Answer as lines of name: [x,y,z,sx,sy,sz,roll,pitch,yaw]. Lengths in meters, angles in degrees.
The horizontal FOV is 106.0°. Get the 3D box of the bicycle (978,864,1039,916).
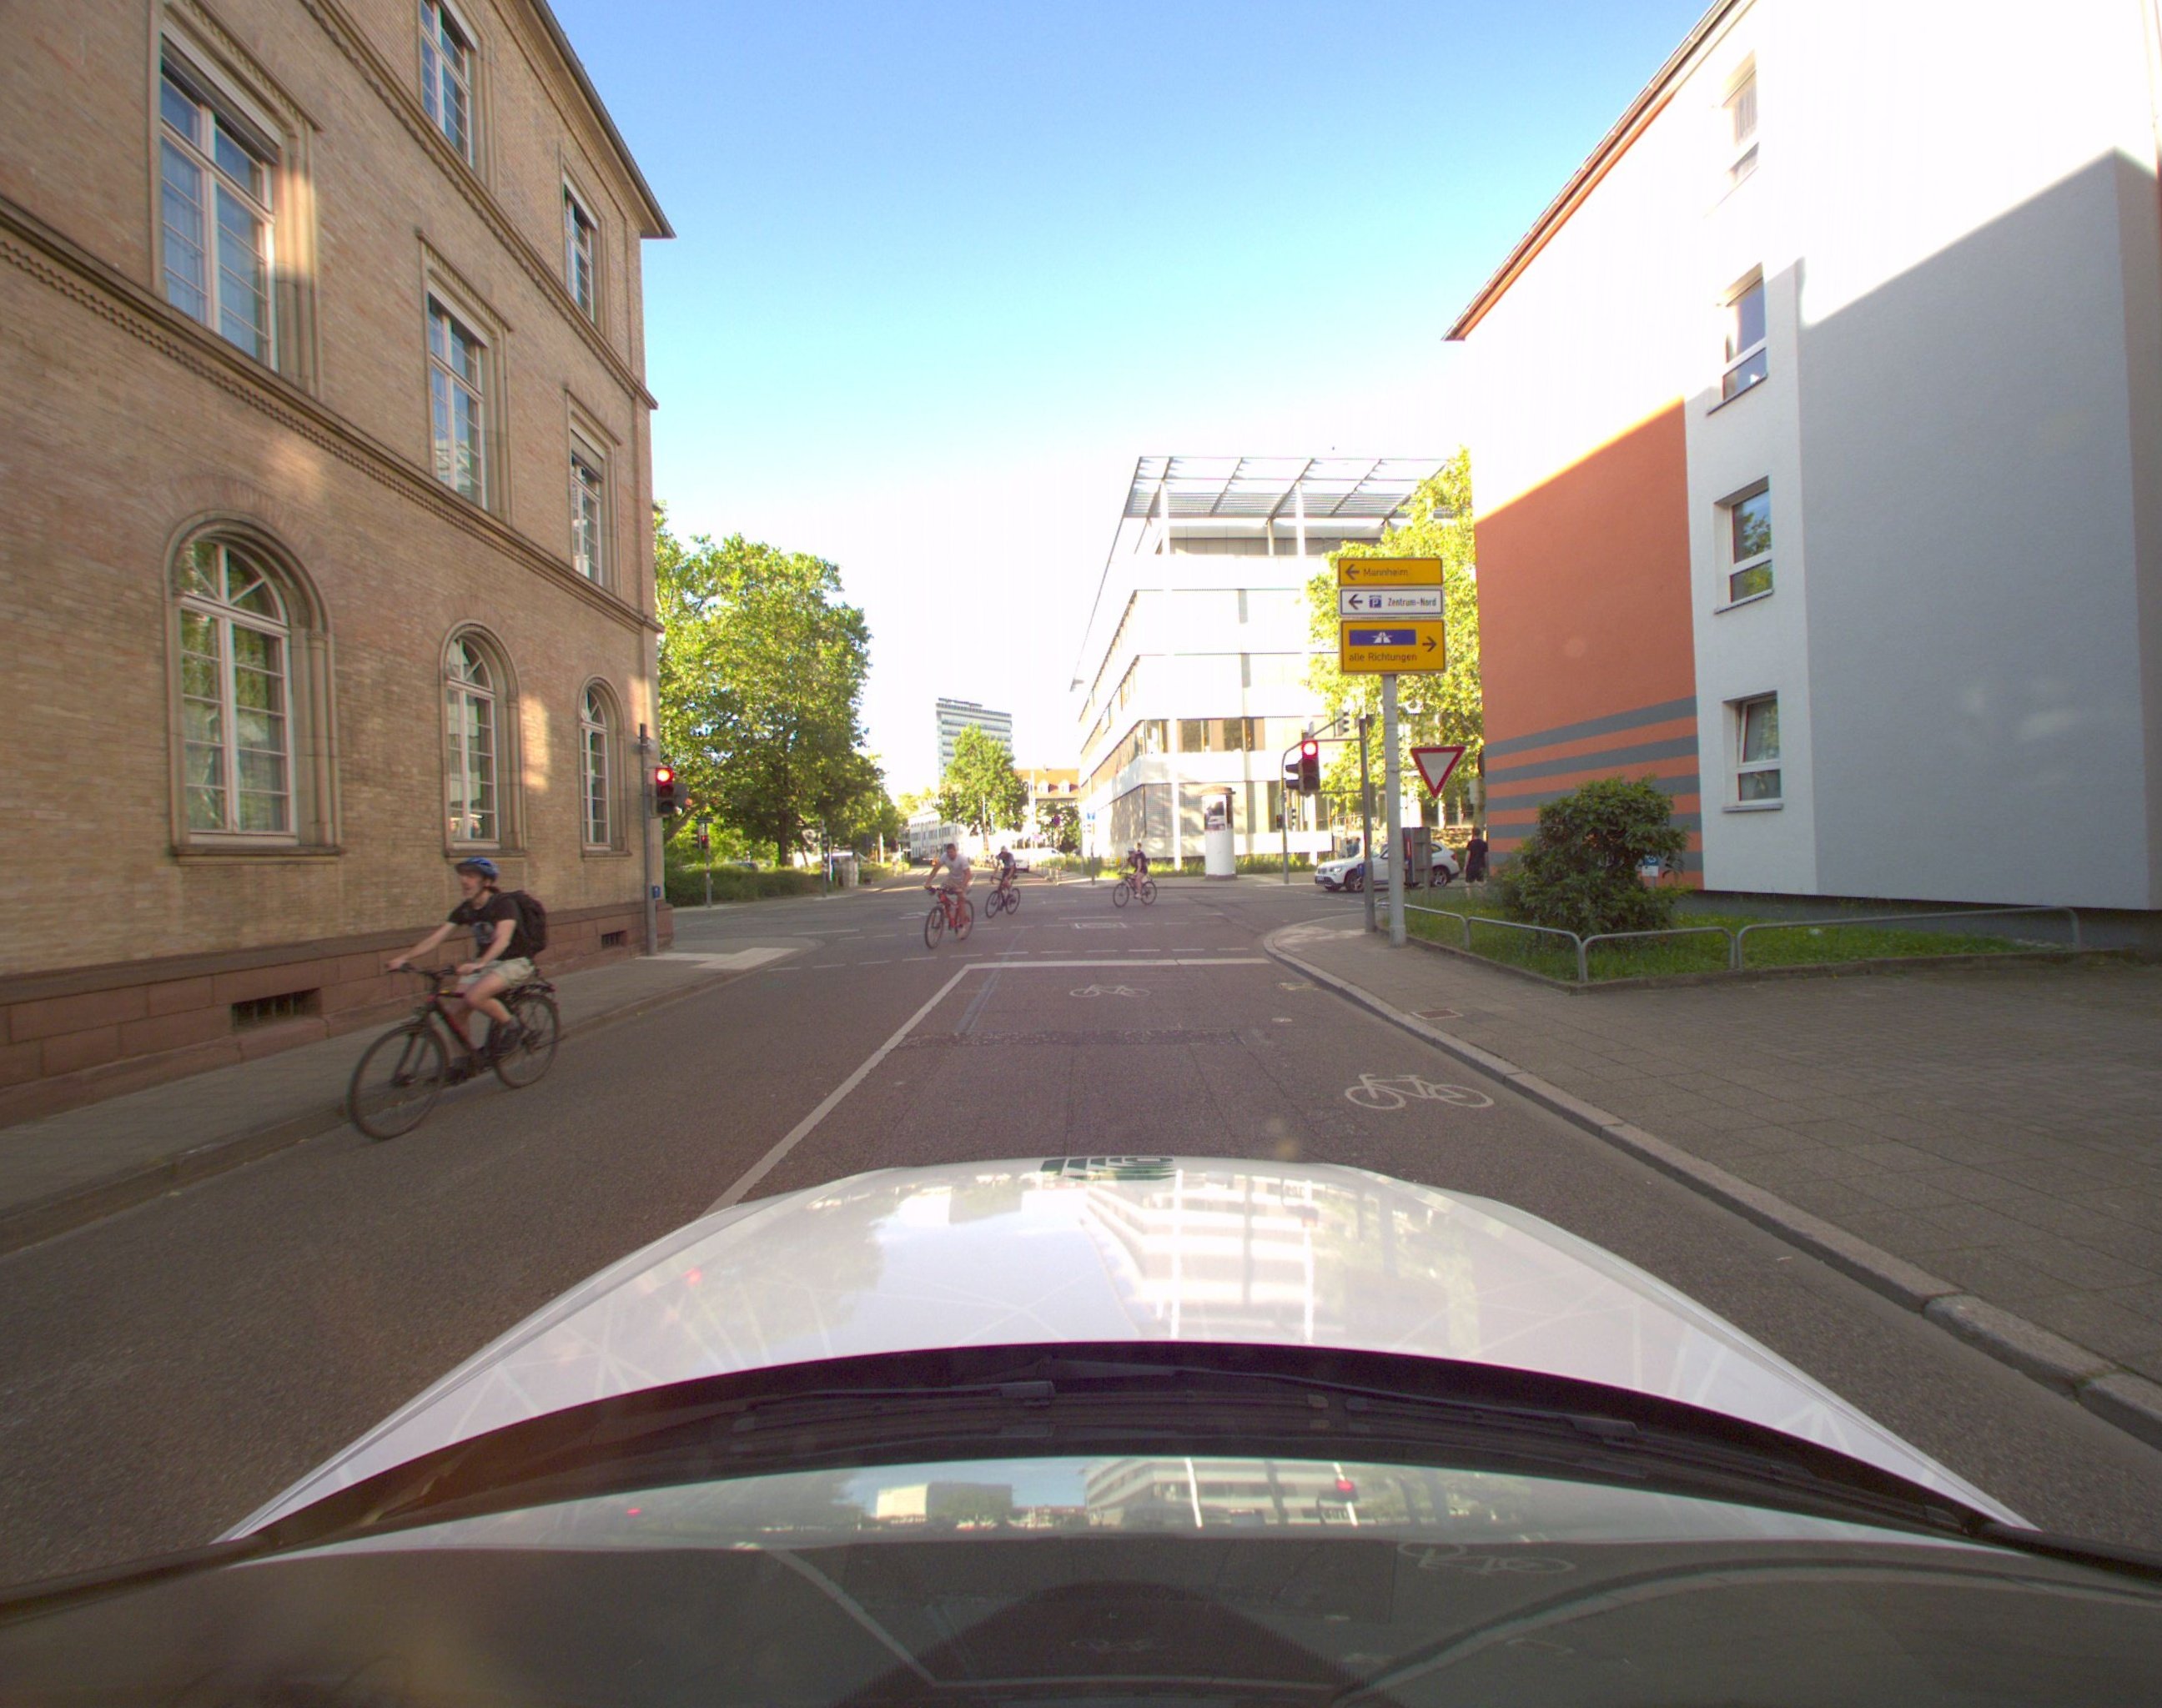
bicycle: [-1.755,0.866,20.020,0.620,1.152,1.795,-2,0,26]

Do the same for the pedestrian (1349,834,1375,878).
pedestrian: [11.599,0.089,33.661,0.908,1.815,0.765,-1,-1,12]

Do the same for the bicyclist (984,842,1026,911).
bicyclist: [-1.844,0.537,19.862,0.620,1.628,0.831,-2,0,26]

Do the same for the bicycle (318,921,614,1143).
bicycle: [-4.283,1.158,5.912,0.588,1.152,1.970,-2,0,1]

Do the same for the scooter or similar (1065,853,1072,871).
scooter or similar: [-0.917,0.578,58.471,0.436,1.256,1.418,-2,0,-2]

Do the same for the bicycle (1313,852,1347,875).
bicycle: [11.004,0.418,36.024,0.381,1.008,1.416,-2,0,-40]

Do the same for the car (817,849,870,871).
car: [-22.029,0.535,75.762,4.441,2.014,1.995,0,-1,-8]

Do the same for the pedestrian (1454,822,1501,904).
pedestrian: [9.012,0.208,18.513,0.723,1.810,0.693,0,-1,-39]

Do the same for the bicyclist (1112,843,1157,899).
bicyclist: [1.445,0.455,22.026,0.979,1.446,0.620,-2,0,-37]

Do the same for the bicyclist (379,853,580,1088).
bicyclist: [-4.305,0.768,5.920,0.588,1.527,1.079,-2,0,1]

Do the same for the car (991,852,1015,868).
car: [-7.848,0.582,81.622,1.994,1.499,4.270,0,-1,-11]

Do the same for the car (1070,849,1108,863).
car: [1.015,0.245,104.952,4.644,1.725,1.990,0,-1,-15]

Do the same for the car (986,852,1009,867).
car: [-8.890,0.588,86.375,1.994,1.499,4.635,0,-1,-10]

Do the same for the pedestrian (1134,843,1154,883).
pedestrian: [2.854,0.397,37.077,0.758,1.795,0.651,-1,-1,19]

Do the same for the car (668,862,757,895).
car: [-17.085,1.101,37.897,3.407,1.457,1.646,0,-1,-8]

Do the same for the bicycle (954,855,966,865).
bicycle: [-15.190,0.769,102.250,0.585,1.152,1.979,-2,0,18]

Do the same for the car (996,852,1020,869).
car: [-6.925,0.606,77.148,1.993,1.499,4.638,0,0,-8]

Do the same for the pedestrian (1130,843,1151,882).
pedestrian: [2.650,0.397,36.188,0.758,1.719,0.651,-1,-1,19]

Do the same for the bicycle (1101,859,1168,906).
bicycle: [1.453,0.758,22.018,1.792,1.152,0.620,-2,0,-37]

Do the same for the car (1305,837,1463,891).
car: [9.477,0.286,25.593,4.355,1.514,1.713,-2,0,-10]

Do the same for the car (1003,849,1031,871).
car: [-5.176,0.466,65.114,1.992,1.725,4.640,0,-1,-7]

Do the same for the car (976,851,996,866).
car: [-11.308,0.535,96.298,1.995,1.725,4.633,0,-1,-11]

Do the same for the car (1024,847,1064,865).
car: [-4.691,0.265,103.245,4.802,2.159,1.989,0,-1,-16]

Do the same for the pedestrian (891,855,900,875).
pedestrian: [-14.779,0.843,64.919,0.700,1.587,0.633,0,-1,-14]

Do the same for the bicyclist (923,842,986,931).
bicyclist: [-2.252,0.560,14.551,0.696,1.522,0.923,-2,0,19]

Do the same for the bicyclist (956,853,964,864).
bicyclist: [-15.206,0.530,102.234,0.586,1.396,0.751,-2,0,18]

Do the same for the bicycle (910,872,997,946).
bicycle: [-2.230,0.943,14.553,0.620,1.152,1.980,-2,0,20]
